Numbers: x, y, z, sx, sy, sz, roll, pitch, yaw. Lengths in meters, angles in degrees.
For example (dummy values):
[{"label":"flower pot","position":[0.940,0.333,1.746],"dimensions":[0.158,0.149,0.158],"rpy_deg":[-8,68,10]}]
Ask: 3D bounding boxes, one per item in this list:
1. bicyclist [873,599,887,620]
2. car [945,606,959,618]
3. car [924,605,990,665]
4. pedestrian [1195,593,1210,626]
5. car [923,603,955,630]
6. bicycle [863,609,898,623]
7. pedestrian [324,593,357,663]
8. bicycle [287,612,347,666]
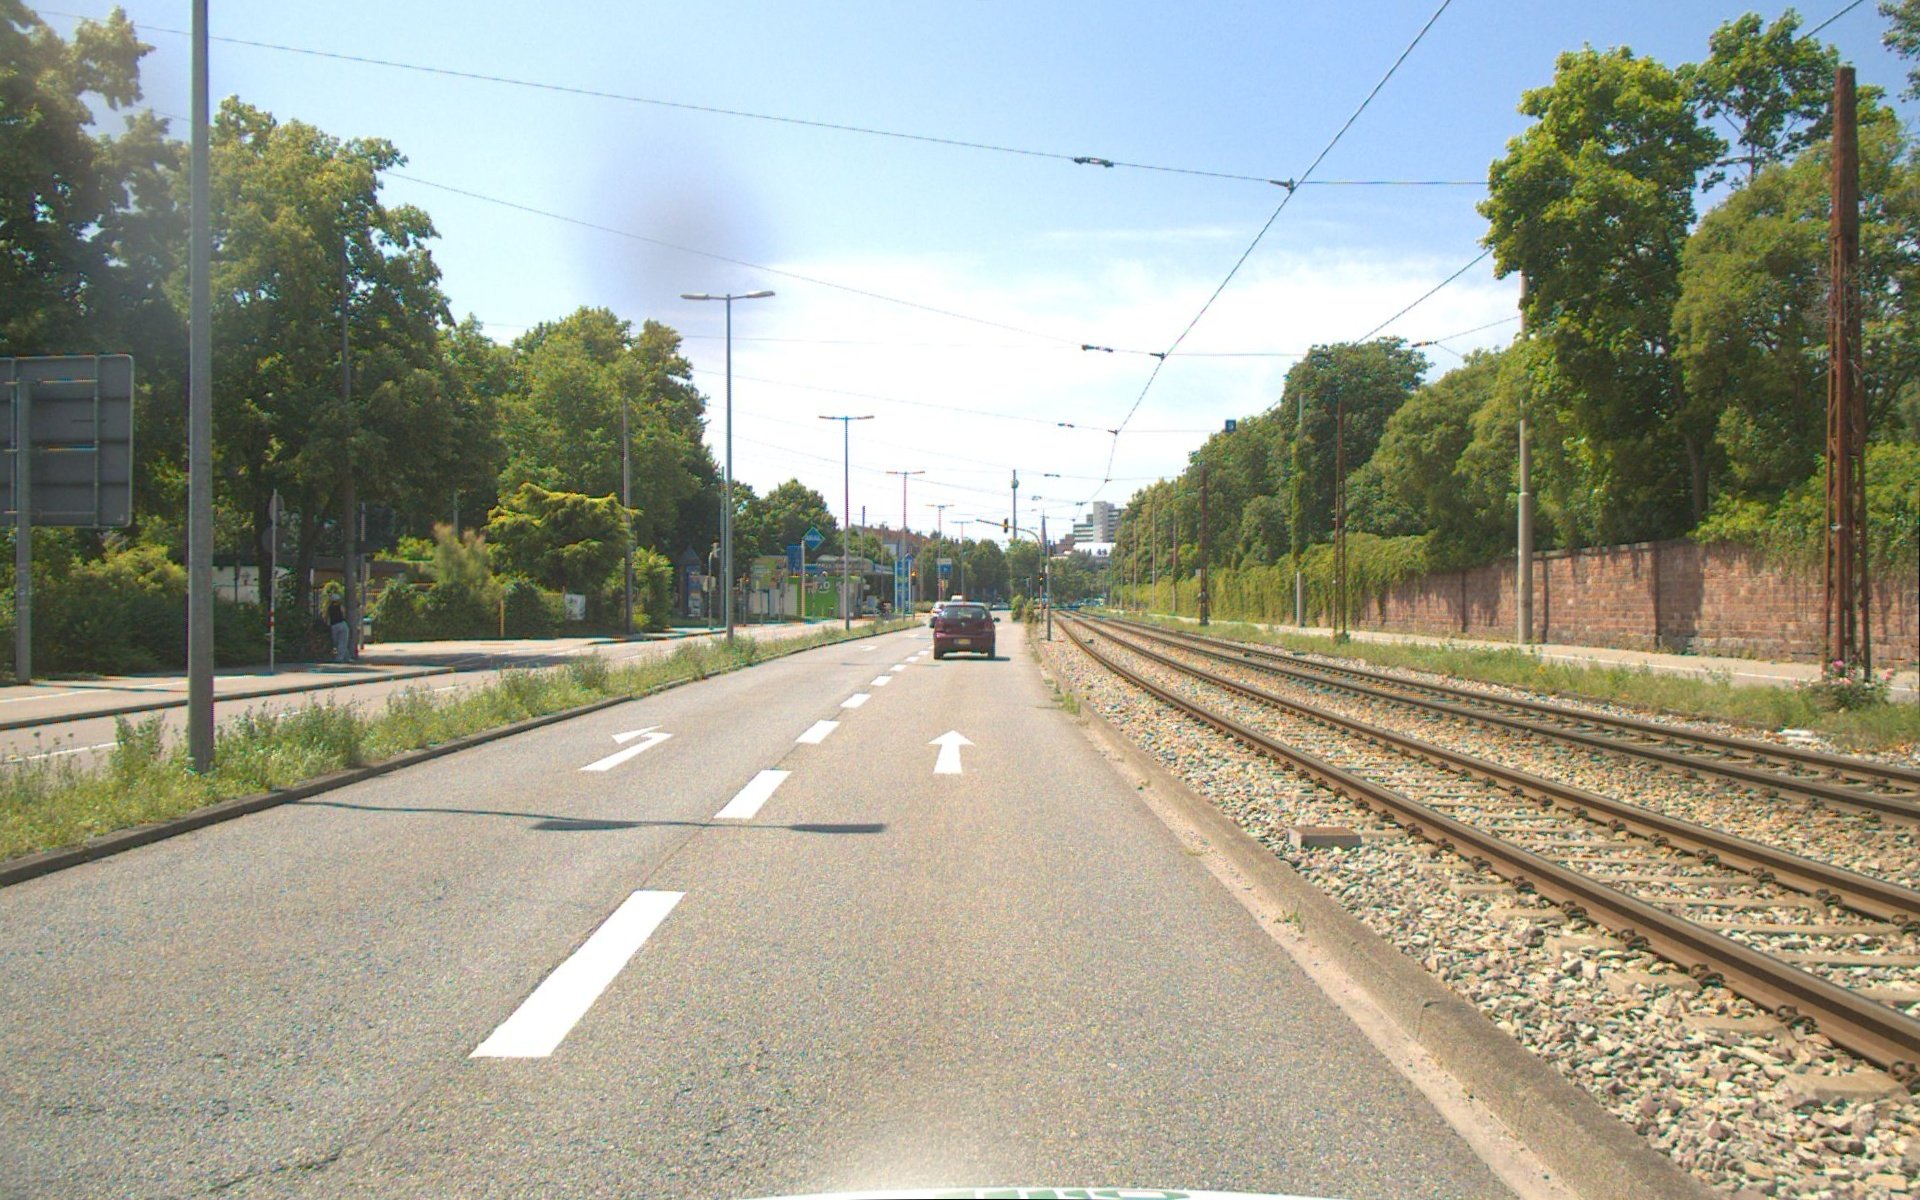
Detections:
[{"label":"bicyclist","position":[-6.294,0.765,130.136],"dimensions":[0.928,1.621,1.084],"rpy_deg":[2,-1,-14]},{"label":"car","position":[-1.230,1.813,251.892],"dimensions":[1.954,1.624,3.997],"rpy_deg":[1,-1,-3]},{"label":"car","position":[-0.054,0.897,43.746],"dimensions":[1.668,1.503,3.716],"rpy_deg":[0,0,1]},{"label":"pedestrian","position":[12.824,0.512,87.498],"dimensions":[0.648,1.757,0.816],"rpy_deg":[0,0,1]},{"label":"car","position":[-1.223,0.923,93.452],"dimensions":[1.669,1.506,3.714],"rpy_deg":[-1,0,-3]},{"label":"bicycle","position":[-6.254,1.284,130.106],"dimensions":[2.507,1.056,1.083],"rpy_deg":[2,-1,-14]},{"label":"pedestrian","position":[-15.786,0.713,42.123],"dimensions":[0.537,1.748,0.604],"rpy_deg":[0,-1,15]},{"label":"bicycle","position":[-16.389,0.976,42.203],"dimensions":[0.632,1.351,1.574],"rpy_deg":[0,0,14]}]
